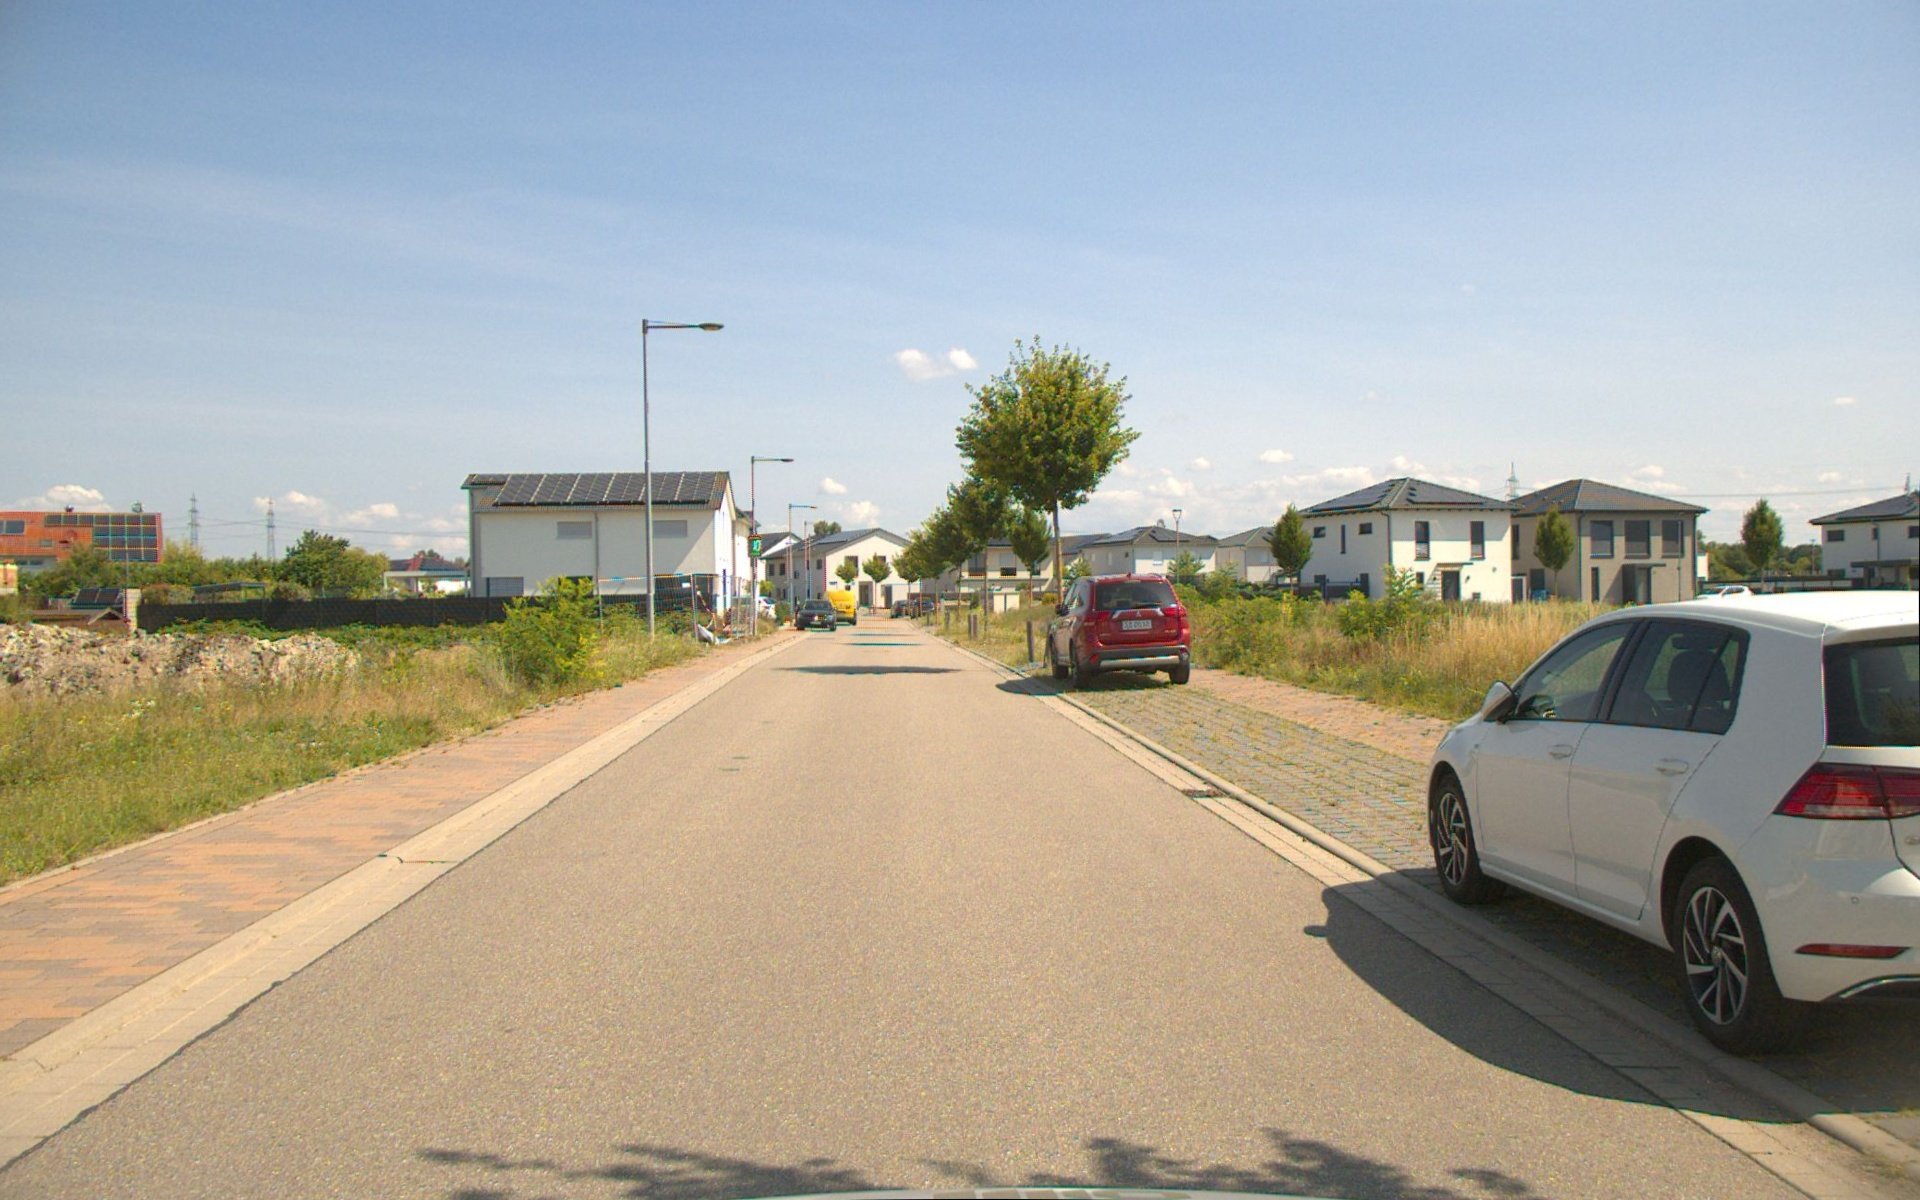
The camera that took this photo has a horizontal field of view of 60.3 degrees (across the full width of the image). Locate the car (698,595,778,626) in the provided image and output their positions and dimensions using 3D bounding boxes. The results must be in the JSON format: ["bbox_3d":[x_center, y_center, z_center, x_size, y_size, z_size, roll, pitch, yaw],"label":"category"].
[{"bbox_3d":[-11.792,0.553,88.049,3.984,1.609,1.785,0,1,2],"label":"car"}]

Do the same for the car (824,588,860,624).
[{"bbox_3d":[-7.012,0.389,97.985,1.904,2.016,4.210,-1,-1,-7],"label":"car"}]

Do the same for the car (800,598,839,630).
[{"bbox_3d":[-6.579,0.639,77.879,1.710,1.429,4.157,1,0,-3],"label":"car"}]

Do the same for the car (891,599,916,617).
[{"bbox_3d":[-4.698,0.661,136.848,1.598,1.346,3.824,-1,-2,-10],"label":"car"}]

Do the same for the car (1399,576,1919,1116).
[{"bbox_3d":[3.331,0.662,6.769,1.740,1.444,4.163,-3,1,-3],"label":"car"}]

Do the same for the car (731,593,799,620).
[{"bbox_3d":[-12.792,0.425,108.390,4.098,1.531,1.805,3,-1,-19],"label":"car"}]

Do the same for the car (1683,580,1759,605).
[{"bbox_3d":[44.510,-0.439,96.758,3.924,1.422,1.742,-1,-1,-17],"label":"car"}]

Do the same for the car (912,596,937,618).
[{"bbox_3d":[-2.535,0.497,118.342,1.607,1.427,3.807,-1,-2,-4],"label":"car"}]

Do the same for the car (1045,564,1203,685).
[{"bbox_3d":[2.512,0.337,26.342,1.742,1.692,4.430,-2,1,-4],"label":"car"}]
